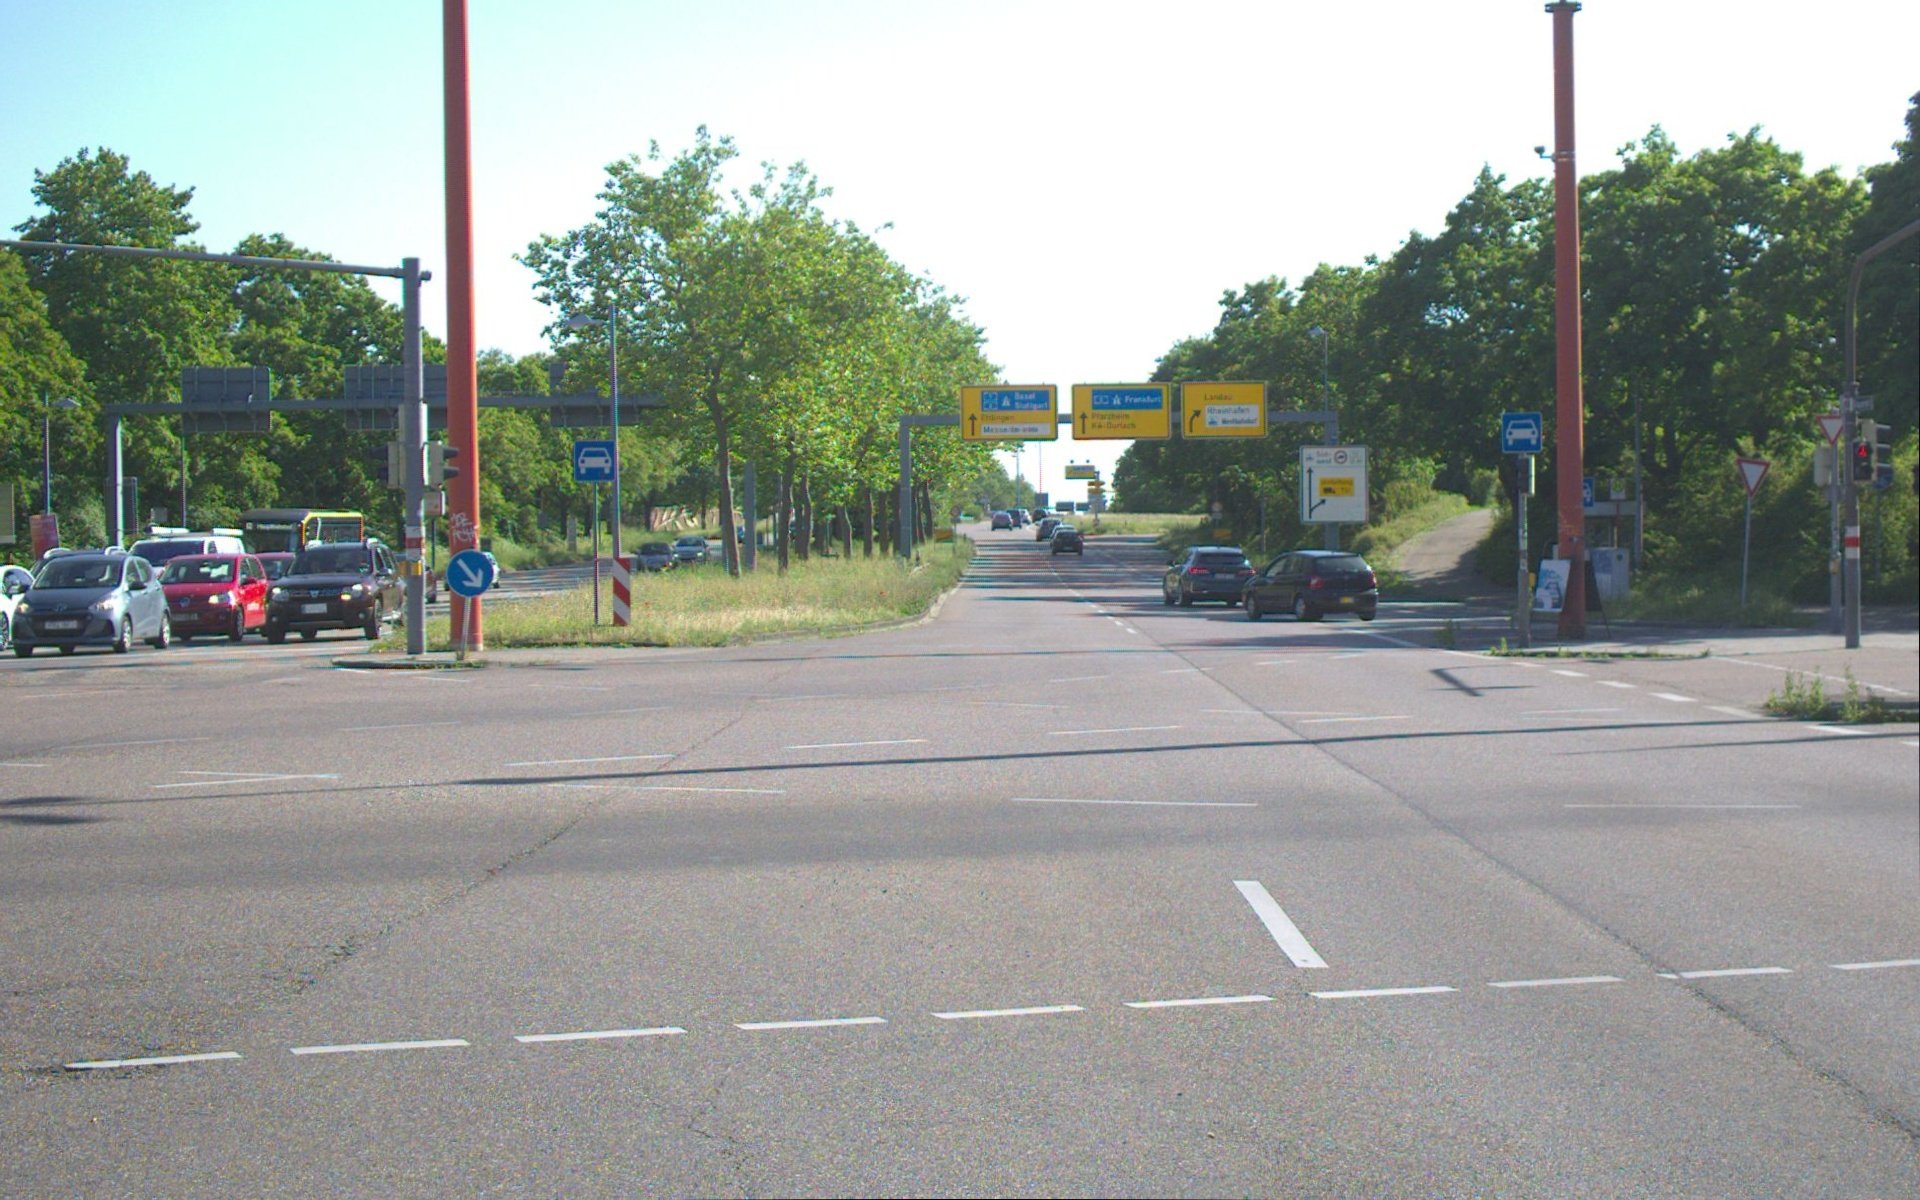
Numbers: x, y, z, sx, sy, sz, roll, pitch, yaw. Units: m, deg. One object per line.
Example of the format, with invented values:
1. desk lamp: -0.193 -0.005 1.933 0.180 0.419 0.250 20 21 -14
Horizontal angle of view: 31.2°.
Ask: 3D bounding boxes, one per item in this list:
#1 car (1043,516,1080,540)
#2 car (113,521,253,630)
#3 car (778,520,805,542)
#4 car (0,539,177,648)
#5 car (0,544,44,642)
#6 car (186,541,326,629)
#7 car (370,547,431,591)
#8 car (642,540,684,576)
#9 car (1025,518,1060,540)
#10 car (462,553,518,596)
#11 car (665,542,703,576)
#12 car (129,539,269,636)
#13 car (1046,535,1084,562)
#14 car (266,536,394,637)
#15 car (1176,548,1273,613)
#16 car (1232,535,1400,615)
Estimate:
1. car: 6.659 -4.722 226.503 2.159 1.568 4.281 -1 1 -2
2. car: -16.113 -0.530 71.510 2.062 2.185 4.379 -1 1 -2
3. car: -12.565 -5.118 256.066 1.876 1.568 4.121 -1 1 -5
4. car: -13.252 -0.133 52.168 1.993 1.568 4.121 -1 1 -3
5. car: -16.487 -0.119 57.037 1.993 1.568 4.122 -2 1 -8
6. car: -13.115 -0.298 64.249 1.993 1.568 4.121 -1 1 -4
7. car: -20.337 -1.135 125.049 1.876 1.568 4.121 -1 1 -5
8. car: -13.590 -1.930 157.180 1.876 1.568 4.121 -1 1 -5
9. car: 5.913 -5.096 246.989 2.158 1.568 4.281 -1 1 -4
10. car: -17.851 -0.984 130.784 1.876 1.568 3.948 -1 1 -5
11. car: -14.758 -2.207 184.007 1.898 1.764 3.850 -1 1 -2
12. car: -12.898 -0.237 58.470 1.993 1.568 4.122 -1 1 -8
13. car: 6.149 -3.027 201.819 2.159 1.568 4.281 -1 1 1
14. car: -10.246 -0.246 56.149 1.876 1.568 4.122 -1 1 -8
15. car: 6.659 -0.521 87.073 2.159 1.568 4.583 -1 1 1
16. car: 7.338 -0.535 71.235 2.158 1.568 4.282 -1 1 -13
